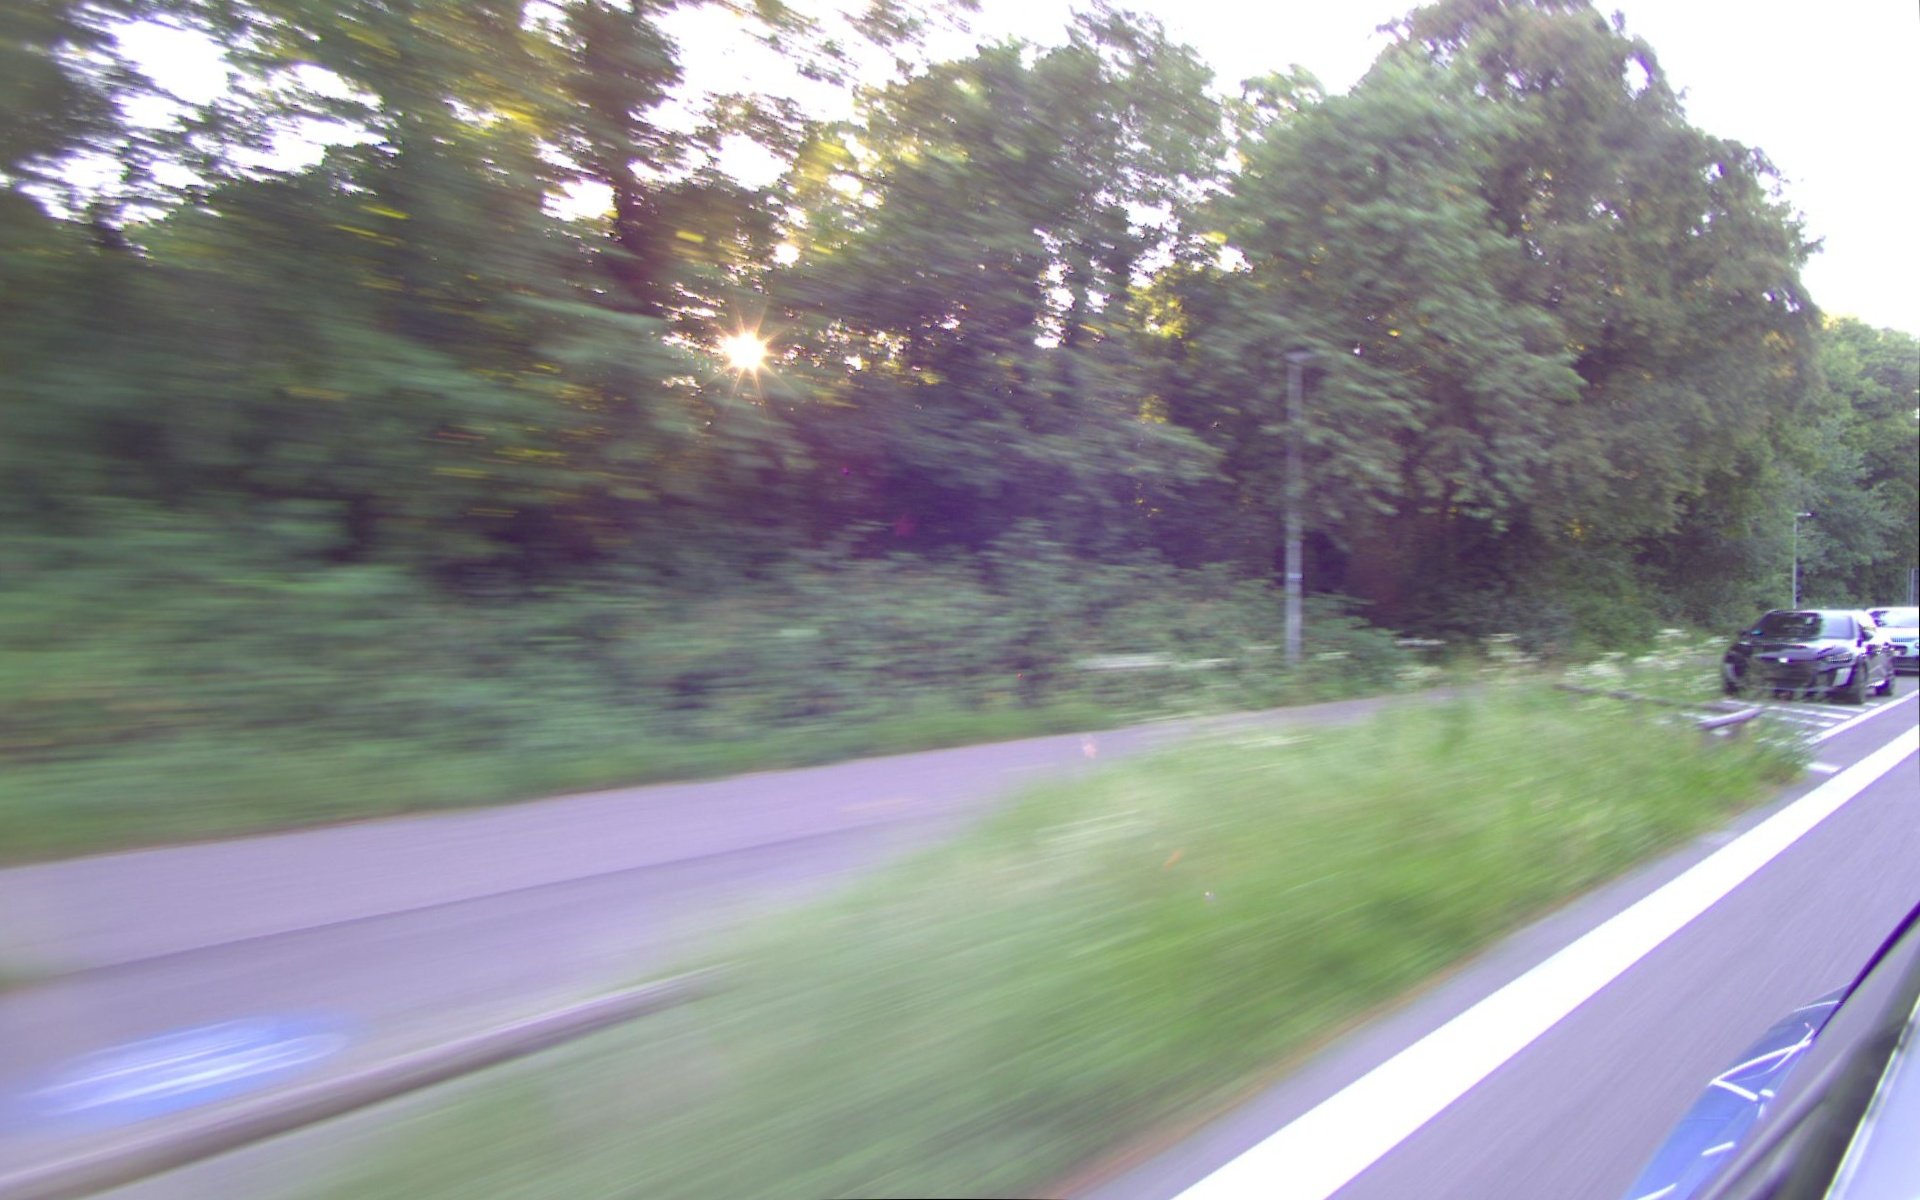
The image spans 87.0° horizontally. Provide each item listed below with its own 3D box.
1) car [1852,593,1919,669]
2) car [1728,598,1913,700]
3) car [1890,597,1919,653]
[{"bbox_3d":[21.703,0.661,22.917,4.039,1.565,1.692,0,2,-41],"label":"car"},{"bbox_3d":[14.187,0.713,16.613,4.050,1.463,1.714,0,0,-41],"label":"car"},{"bbox_3d":[26.894,0.673,27.815,3.893,1.464,1.581,0,2,-42],"label":"car"}]
